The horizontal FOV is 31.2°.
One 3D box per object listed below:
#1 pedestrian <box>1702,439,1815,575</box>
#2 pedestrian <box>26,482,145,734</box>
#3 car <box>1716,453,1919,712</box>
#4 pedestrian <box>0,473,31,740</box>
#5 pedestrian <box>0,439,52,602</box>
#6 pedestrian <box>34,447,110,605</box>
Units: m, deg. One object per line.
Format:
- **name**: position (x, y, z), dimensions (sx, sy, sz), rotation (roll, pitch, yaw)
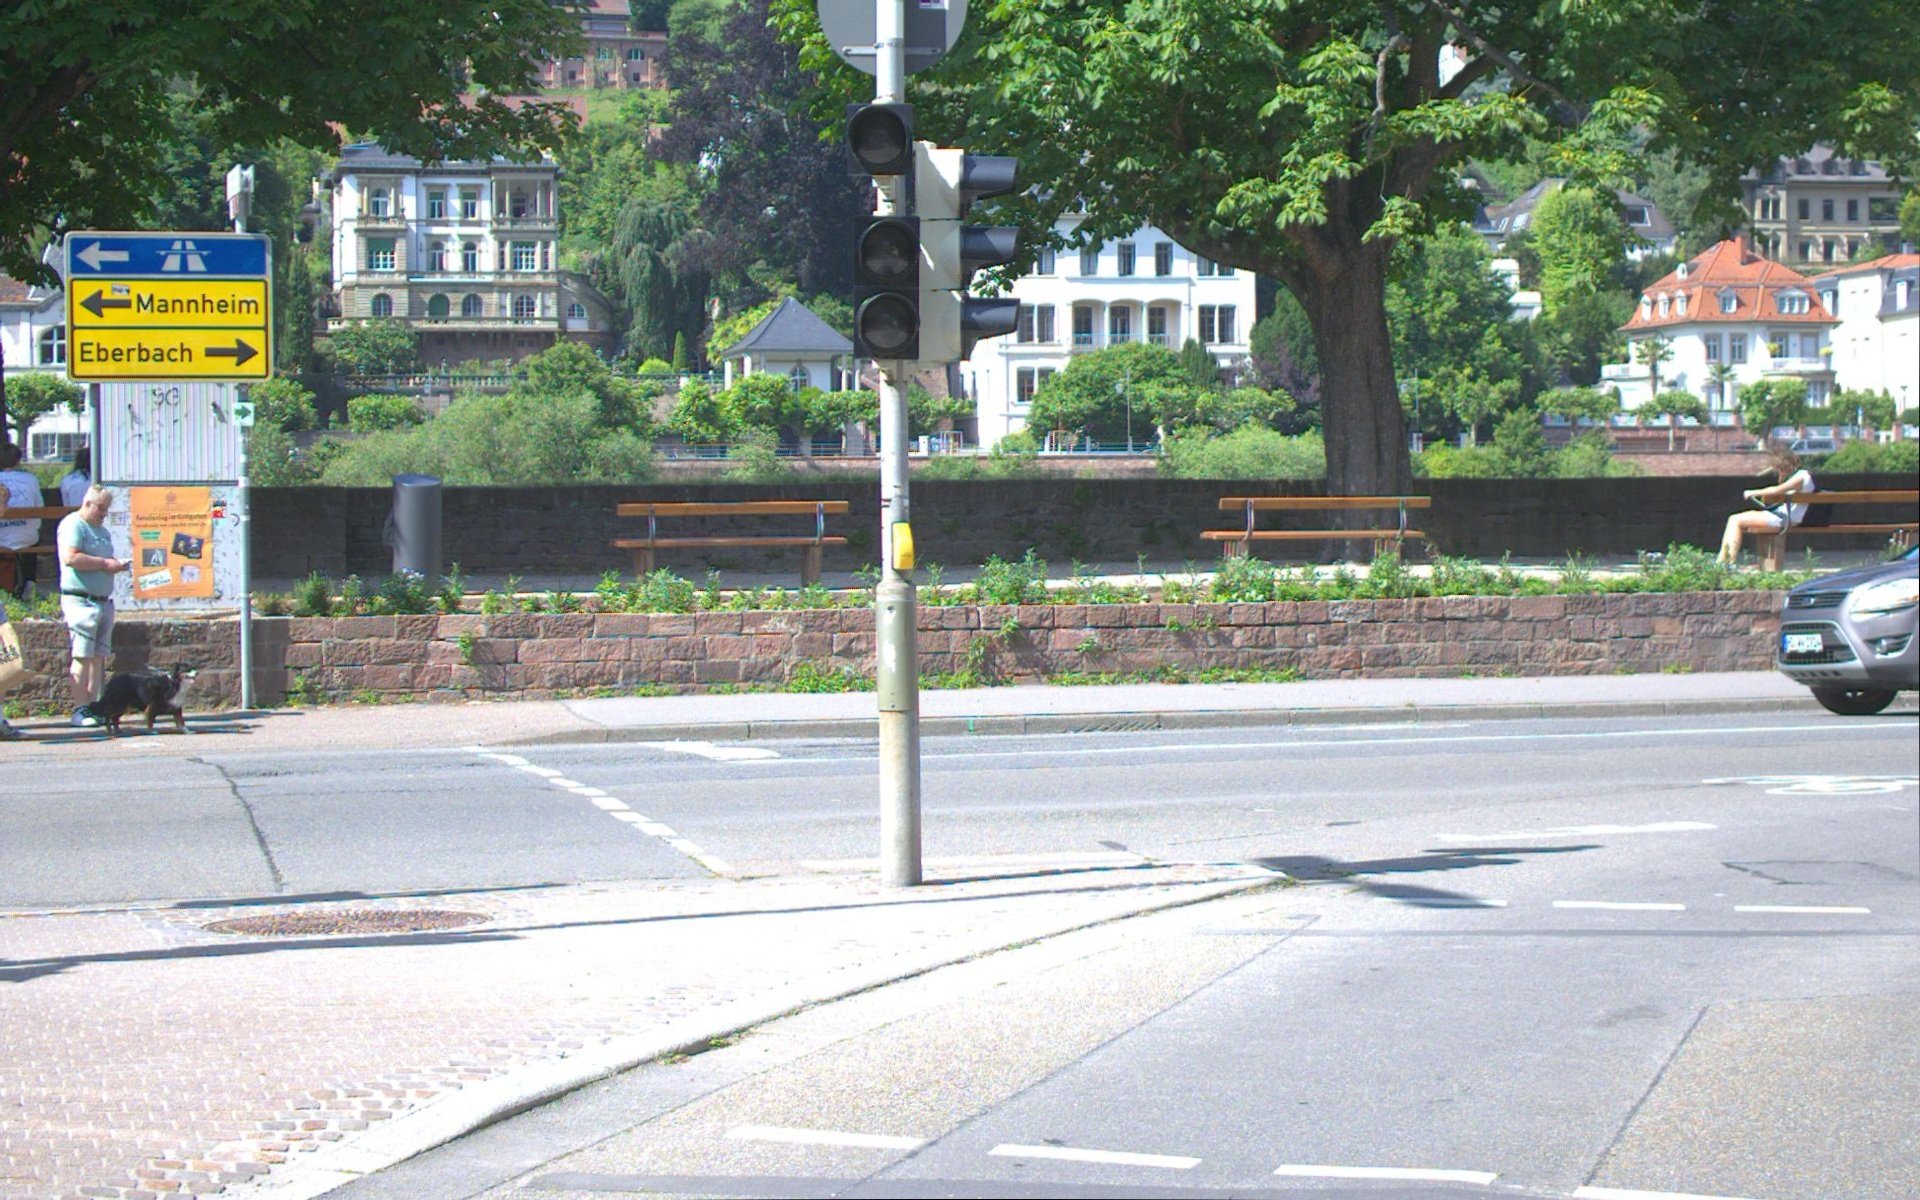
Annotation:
- **pedestrian**: position (7.453, -0.861, 32.106), dimensions (0.797, 1.207, 0.715), rotation (1, -2, -12)
- **pedestrian**: position (-6.274, 0.056, 24.650), dimensions (0.688, 1.763, 0.717), rotation (-2, 0, -22)
- **car**: position (7.874, -0.086, 24.737), dimensions (4.394, 1.748, 1.844), rotation (0, -2, -18)
- **pedestrian**: position (-6.652, 0.040, 23.410), dimensions (0.578, 1.795, 0.705), rotation (-1, 1, -13)
- **pedestrian**: position (-7.672, -0.641, 27.895), dimensions (0.553, 1.275, 0.704), rotation (2, -3, -15)
- **pedestrian**: position (-7.255, -0.592, 28.063), dimensions (0.553, 1.224, 0.986), rotation (2, -3, -15)
